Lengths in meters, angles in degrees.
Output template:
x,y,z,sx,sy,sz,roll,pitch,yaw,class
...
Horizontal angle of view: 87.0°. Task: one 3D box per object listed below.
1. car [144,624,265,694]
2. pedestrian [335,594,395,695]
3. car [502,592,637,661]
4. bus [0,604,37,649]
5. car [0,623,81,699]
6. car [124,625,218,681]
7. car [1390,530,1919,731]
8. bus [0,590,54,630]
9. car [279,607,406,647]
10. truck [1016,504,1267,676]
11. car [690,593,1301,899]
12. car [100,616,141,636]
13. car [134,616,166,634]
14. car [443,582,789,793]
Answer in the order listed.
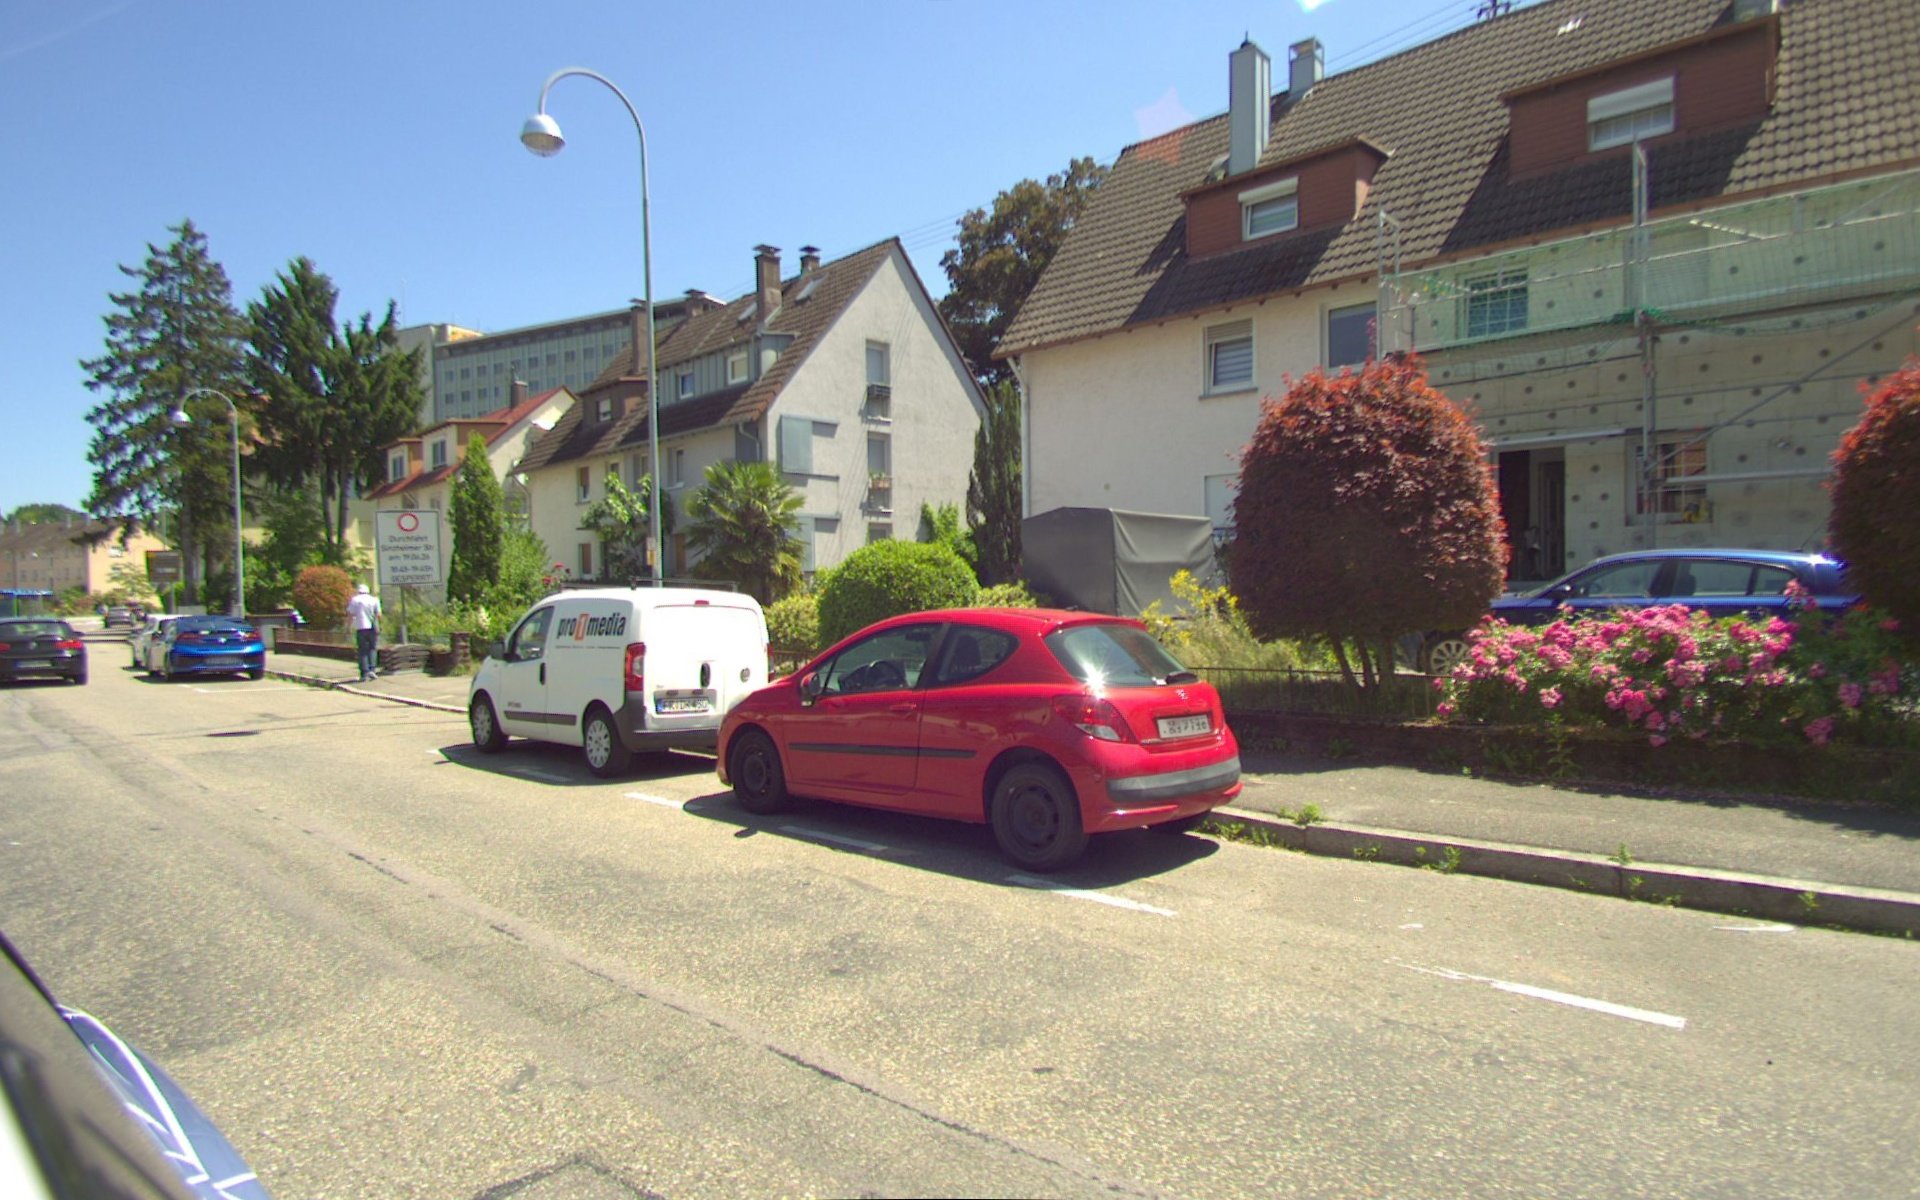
x,y,z,sx,sy,sz,roll,pitch,yaw,class
-17.516,1.289,23.378,1.748,1.450,4.366,1,-2,-43,car
-11.988,0.870,20.385,0.681,1.903,1.020,-7,5,-41,pedestrian
-10.512,0.643,27.092,1.749,1.519,4.365,-4,4,-45,car
-70.522,1.896,74.479,2.866,3.103,12.588,-1,1,-38,bus
-19.735,1.222,21.270,1.712,1.427,4.003,1,-1,-44,car
-21.829,1.403,27.961,1.560,1.434,3.943,2,-2,-45,car
6.562,0.240,9.886,3.997,1.525,1.669,-1,4,40,car
-78.204,0.820,84.529,2.884,3.085,12.588,-1,1,-38,bus
-26.478,1.115,43.463,4.413,1.452,1.850,-3,1,-40,car
2.512,-0.108,13.415,1.546,1.952,3.728,-2,-1,41,truck
0.026,0.762,6.968,4.057,1.489,1.741,-1,-2,42,car
-64.886,2.009,78.270,1.716,1.516,4.155,1,-1,-30,car
-71.139,2.197,88.937,1.781,1.500,4.398,0,-2,-33,car
-3.634,0.770,10.349,3.887,1.749,1.704,-1,-2,43,car
